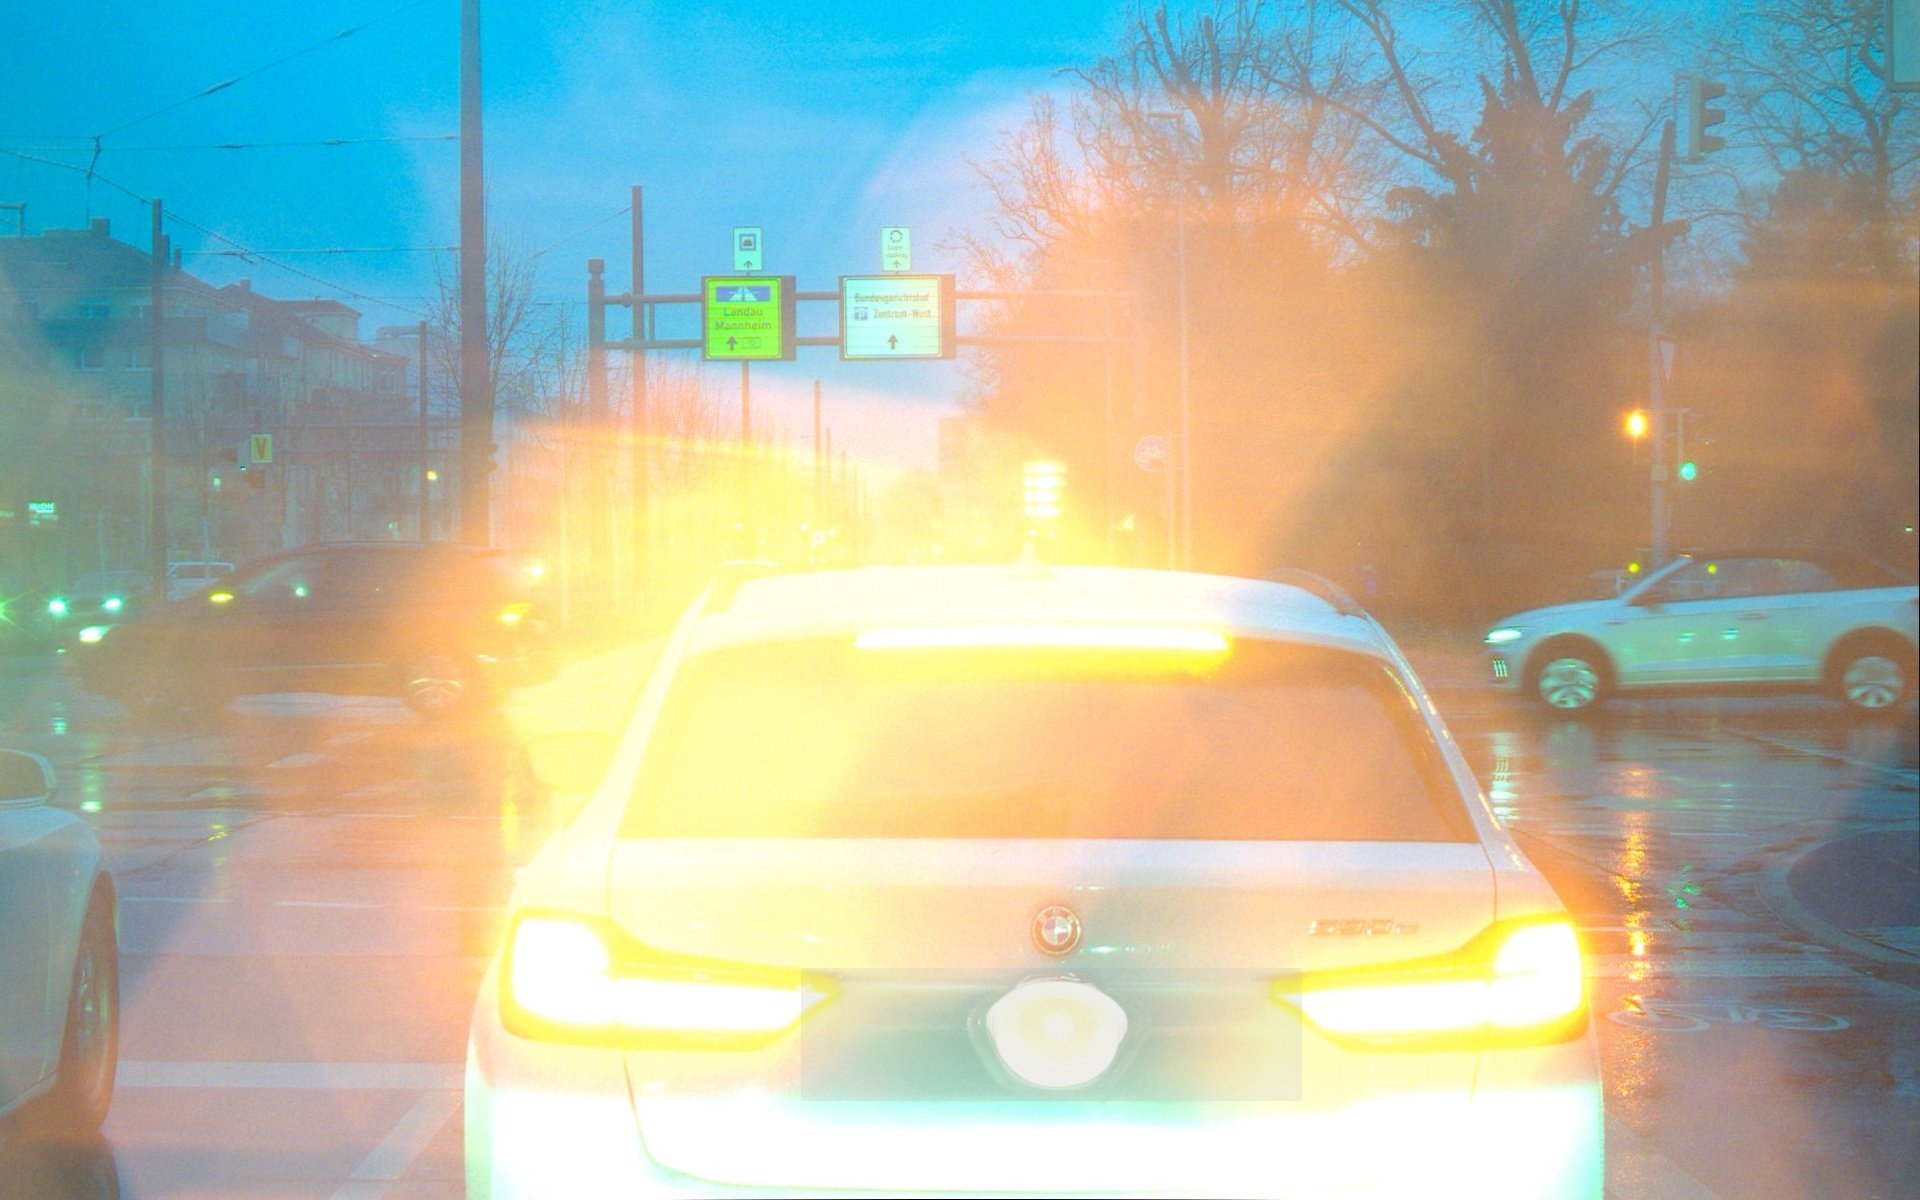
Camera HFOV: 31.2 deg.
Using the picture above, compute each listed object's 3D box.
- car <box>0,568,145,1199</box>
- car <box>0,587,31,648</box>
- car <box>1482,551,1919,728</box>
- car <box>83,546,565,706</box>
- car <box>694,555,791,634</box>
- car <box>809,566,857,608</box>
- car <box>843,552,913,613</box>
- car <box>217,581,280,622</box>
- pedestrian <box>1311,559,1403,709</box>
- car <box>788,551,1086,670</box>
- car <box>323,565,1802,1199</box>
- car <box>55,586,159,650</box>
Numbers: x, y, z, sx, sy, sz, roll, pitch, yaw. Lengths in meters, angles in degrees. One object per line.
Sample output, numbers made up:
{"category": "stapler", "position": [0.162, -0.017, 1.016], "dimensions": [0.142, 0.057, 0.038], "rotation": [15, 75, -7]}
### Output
{"category": "car", "position": [-3.096, 0.676, 7.038], "dimensions": [1.993, 1.451, 4.369], "rotation": [0, 1, -2]}
{"category": "car", "position": [-24.722, 0.413, 86.535], "dimensions": [1.675, 1.502, 3.696], "rotation": [1, 0, -1]}
{"category": "car", "position": [6.854, 0.335, 30.863], "dimensions": [4.096, 1.524, 1.838], "rotation": [0, 0, 16]}
{"category": "car", "position": [-5.920, 0.235, 32.267], "dimensions": [4.093, 1.436, 1.839], "rotation": [0, 0, 5]}
{"category": "car", "position": [-4.516, -0.121, 70.976], "dimensions": [1.743, 1.548, 3.969], "rotation": [1, 0, -7]}
{"category": "car", "position": [-4.998, -0.509, 135.629], "dimensions": [1.843, 1.603, 3.945], "rotation": [1, 0, -2]}
{"category": "car", "position": [-2.253, -0.473, 93.779], "dimensions": [1.843, 1.603, 3.945], "rotation": [1, 0, -2]}
{"category": "car", "position": [-27.215, 0.051, 131.595], "dimensions": [1.675, 1.502, 3.696], "rotation": [1, 0, -1]}
{"category": "pedestrian", "position": [5.004, 0.423, 43.320], "dimensions": [0.904, 1.850, 0.811], "rotation": [1, 0, 24]}
{"category": "car", "position": [-0.336, 0.112, 42.709], "dimensions": [1.752, 1.397, 4.000], "rotation": [1, 0, -34]}
{"category": "car", "position": [0.049, 0.679, 6.820], "dimensions": [1.993, 1.451, 4.369], "rotation": [0, 1, -2]}
{"category": "car", "position": [-20.934, 0.437, 84.480], "dimensions": [1.675, 1.502, 3.696], "rotation": [1, 0, -1]}
